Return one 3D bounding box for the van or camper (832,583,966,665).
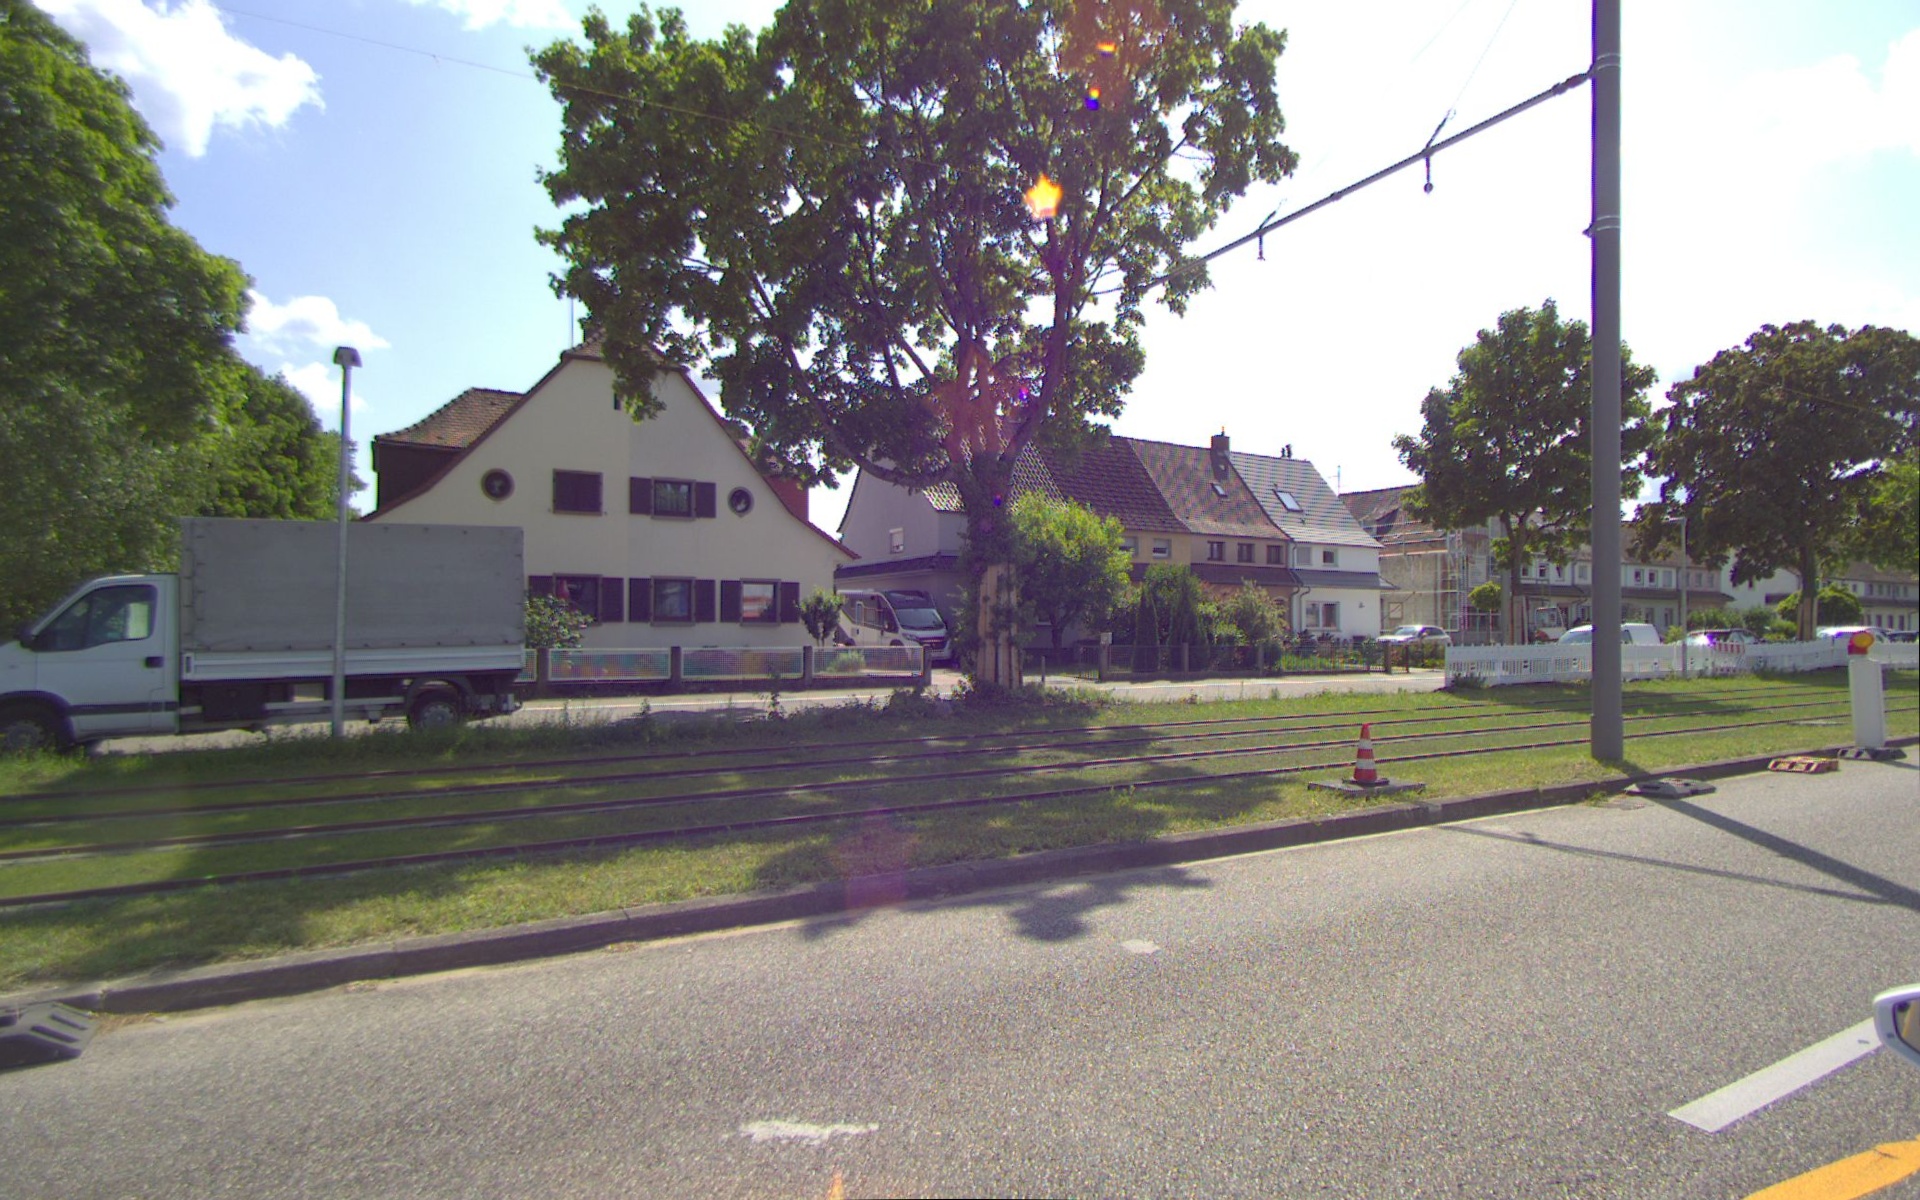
[{"bbox_3d":[-2.350,0.905,36.647,2.224,2.745,5.963,1,-2,-33],"label":"van or camper"}]

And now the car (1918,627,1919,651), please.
[{"bbox_3d":[72.134,2.846,73.668,4.013,1.762,1.691,1,-2,-30],"label":"car"}]

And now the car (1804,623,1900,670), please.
[{"bbox_3d":[34.987,1.800,39.375,3.814,1.762,1.691,1,-2,-30],"label":"car"}]

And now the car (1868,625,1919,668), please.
[{"bbox_3d":[40.390,1.959,42.600,3.814,1.762,1.691,1,-2,-30],"label":"car"}]

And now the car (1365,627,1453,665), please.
[{"bbox_3d":[19.889,1.991,44.478,3.814,1.614,1.691,1,-2,-30],"label":"car"}]

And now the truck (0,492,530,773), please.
[{"bbox_3d":[-8.795,0.411,12.931,5.805,3.027,1.994,1,-2,-30],"label":"truck"}]

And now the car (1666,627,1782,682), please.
[{"bbox_3d":[25.747,1.798,33.825,4.006,1.762,1.691,1,-2,-30],"label":"car"}]

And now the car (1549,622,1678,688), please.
[{"bbox_3d":[19.503,1.603,29.958,3.814,1.841,1.691,1,-2,-30],"label":"car"}]

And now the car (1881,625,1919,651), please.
[{"bbox_3d":[66.751,2.681,70.732,4.013,1.762,1.691,1,-2,-30],"label":"car"}]
